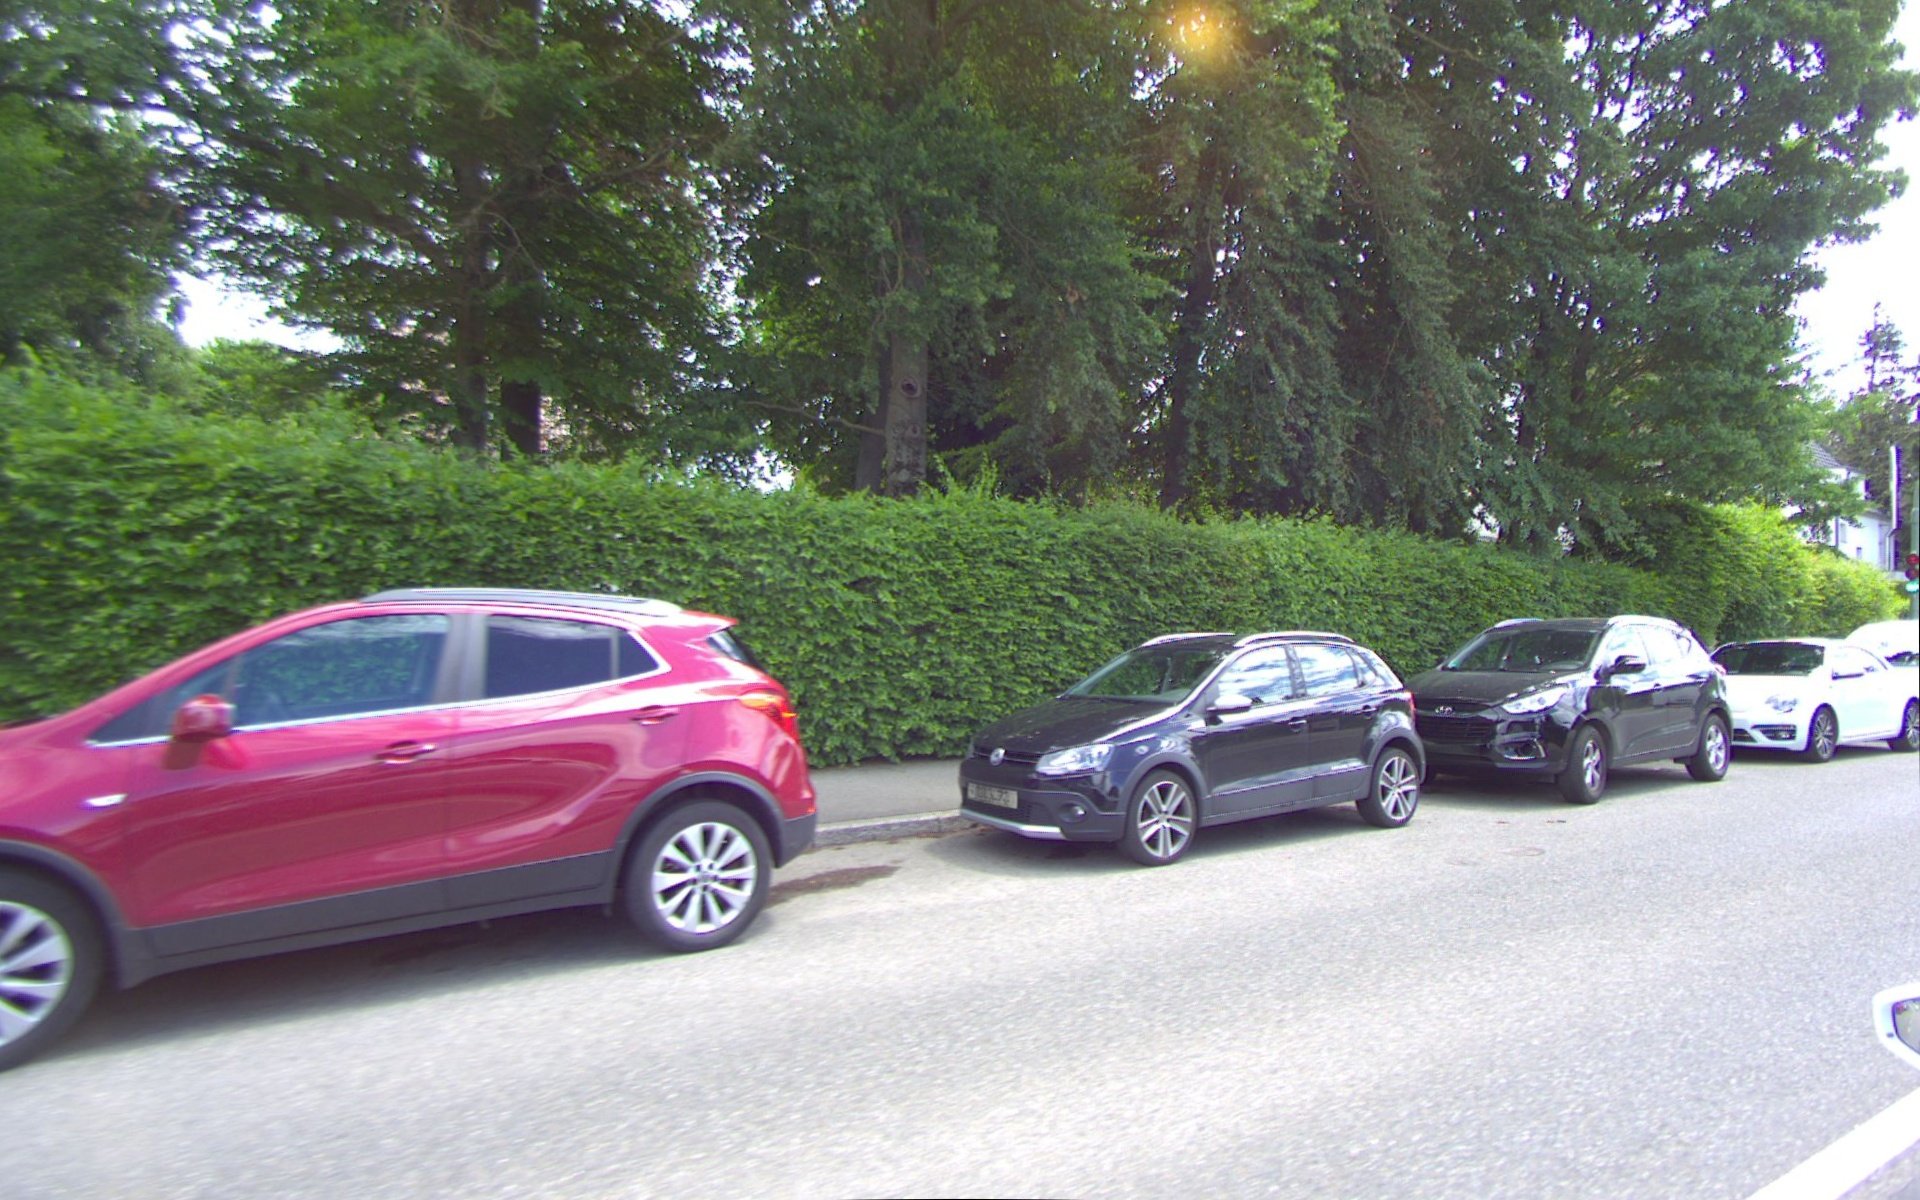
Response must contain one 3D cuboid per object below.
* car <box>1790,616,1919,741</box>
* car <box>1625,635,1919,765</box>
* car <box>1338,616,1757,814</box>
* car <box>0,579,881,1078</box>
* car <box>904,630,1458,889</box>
[{"bbox_3d":[15.274,1.186,16.142,4.558,1.781,1.667,1,-3,-33],"label":"car"},{"bbox_3d":[10.830,1.224,13.153,4.303,1.472,1.698,1,-4,-29],"label":"car"},{"bbox_3d":[6.109,0.995,10.278,4.594,1.615,1.885,1,-1,-33],"label":"car"},{"bbox_3d":[-2.705,0.781,4.670,4.371,1.632,1.779,1,-1,-34],"label":"car"},{"bbox_3d":[1.810,0.985,7.692,4.191,1.478,1.723,1,-1,-33],"label":"car"}]
